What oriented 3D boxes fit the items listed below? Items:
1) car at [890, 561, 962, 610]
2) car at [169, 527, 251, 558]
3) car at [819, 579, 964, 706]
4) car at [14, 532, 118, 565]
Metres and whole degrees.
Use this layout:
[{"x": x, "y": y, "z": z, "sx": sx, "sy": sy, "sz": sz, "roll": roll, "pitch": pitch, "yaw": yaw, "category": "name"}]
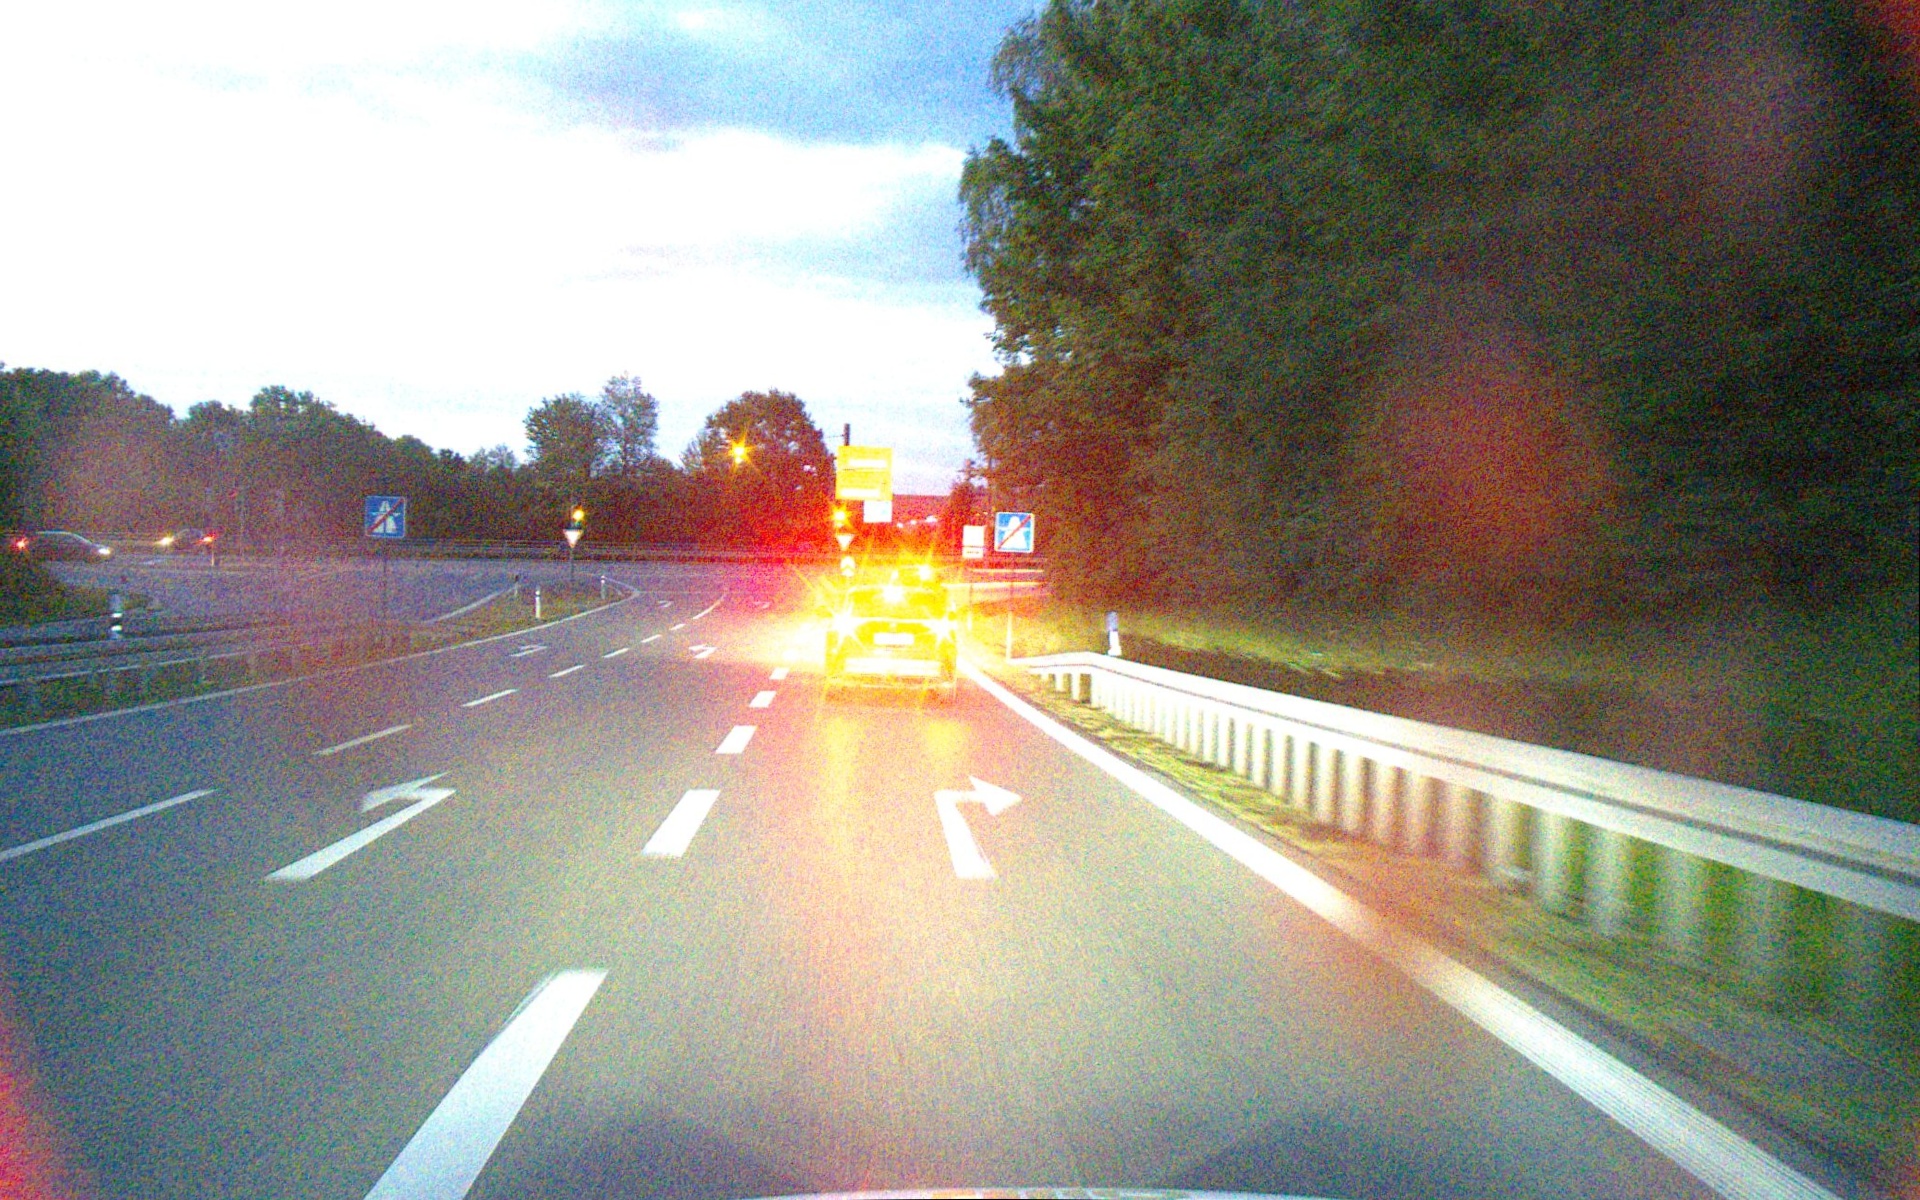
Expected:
[{"x": -1.255, "y": -0.521, "z": 62.795, "sx": 1.743, "sy": 1.682, "sz": 4.003, "roll": 1, "pitch": -1, "yaw": 13, "category": "car"}, {"x": -42.251, "y": -3.227, "z": 93.216, "sx": 3.926, "sy": 1.478, "sz": 1.990, "roll": 3, "pitch": 0, "yaw": -19, "category": "car"}, {"x": -1.097, "y": 0.561, "z": 24.125, "sx": 1.864, "sy": 1.648, "sz": 4.551, "roll": 1, "pitch": 0, "yaw": -5, "category": "car"}, {"x": -41.135, "y": -2.350, "z": 76.222, "sx": 3.927, "sy": 1.478, "sz": 1.989, "roll": 0, "pitch": 1, "yaw": -20, "category": "car"}]
